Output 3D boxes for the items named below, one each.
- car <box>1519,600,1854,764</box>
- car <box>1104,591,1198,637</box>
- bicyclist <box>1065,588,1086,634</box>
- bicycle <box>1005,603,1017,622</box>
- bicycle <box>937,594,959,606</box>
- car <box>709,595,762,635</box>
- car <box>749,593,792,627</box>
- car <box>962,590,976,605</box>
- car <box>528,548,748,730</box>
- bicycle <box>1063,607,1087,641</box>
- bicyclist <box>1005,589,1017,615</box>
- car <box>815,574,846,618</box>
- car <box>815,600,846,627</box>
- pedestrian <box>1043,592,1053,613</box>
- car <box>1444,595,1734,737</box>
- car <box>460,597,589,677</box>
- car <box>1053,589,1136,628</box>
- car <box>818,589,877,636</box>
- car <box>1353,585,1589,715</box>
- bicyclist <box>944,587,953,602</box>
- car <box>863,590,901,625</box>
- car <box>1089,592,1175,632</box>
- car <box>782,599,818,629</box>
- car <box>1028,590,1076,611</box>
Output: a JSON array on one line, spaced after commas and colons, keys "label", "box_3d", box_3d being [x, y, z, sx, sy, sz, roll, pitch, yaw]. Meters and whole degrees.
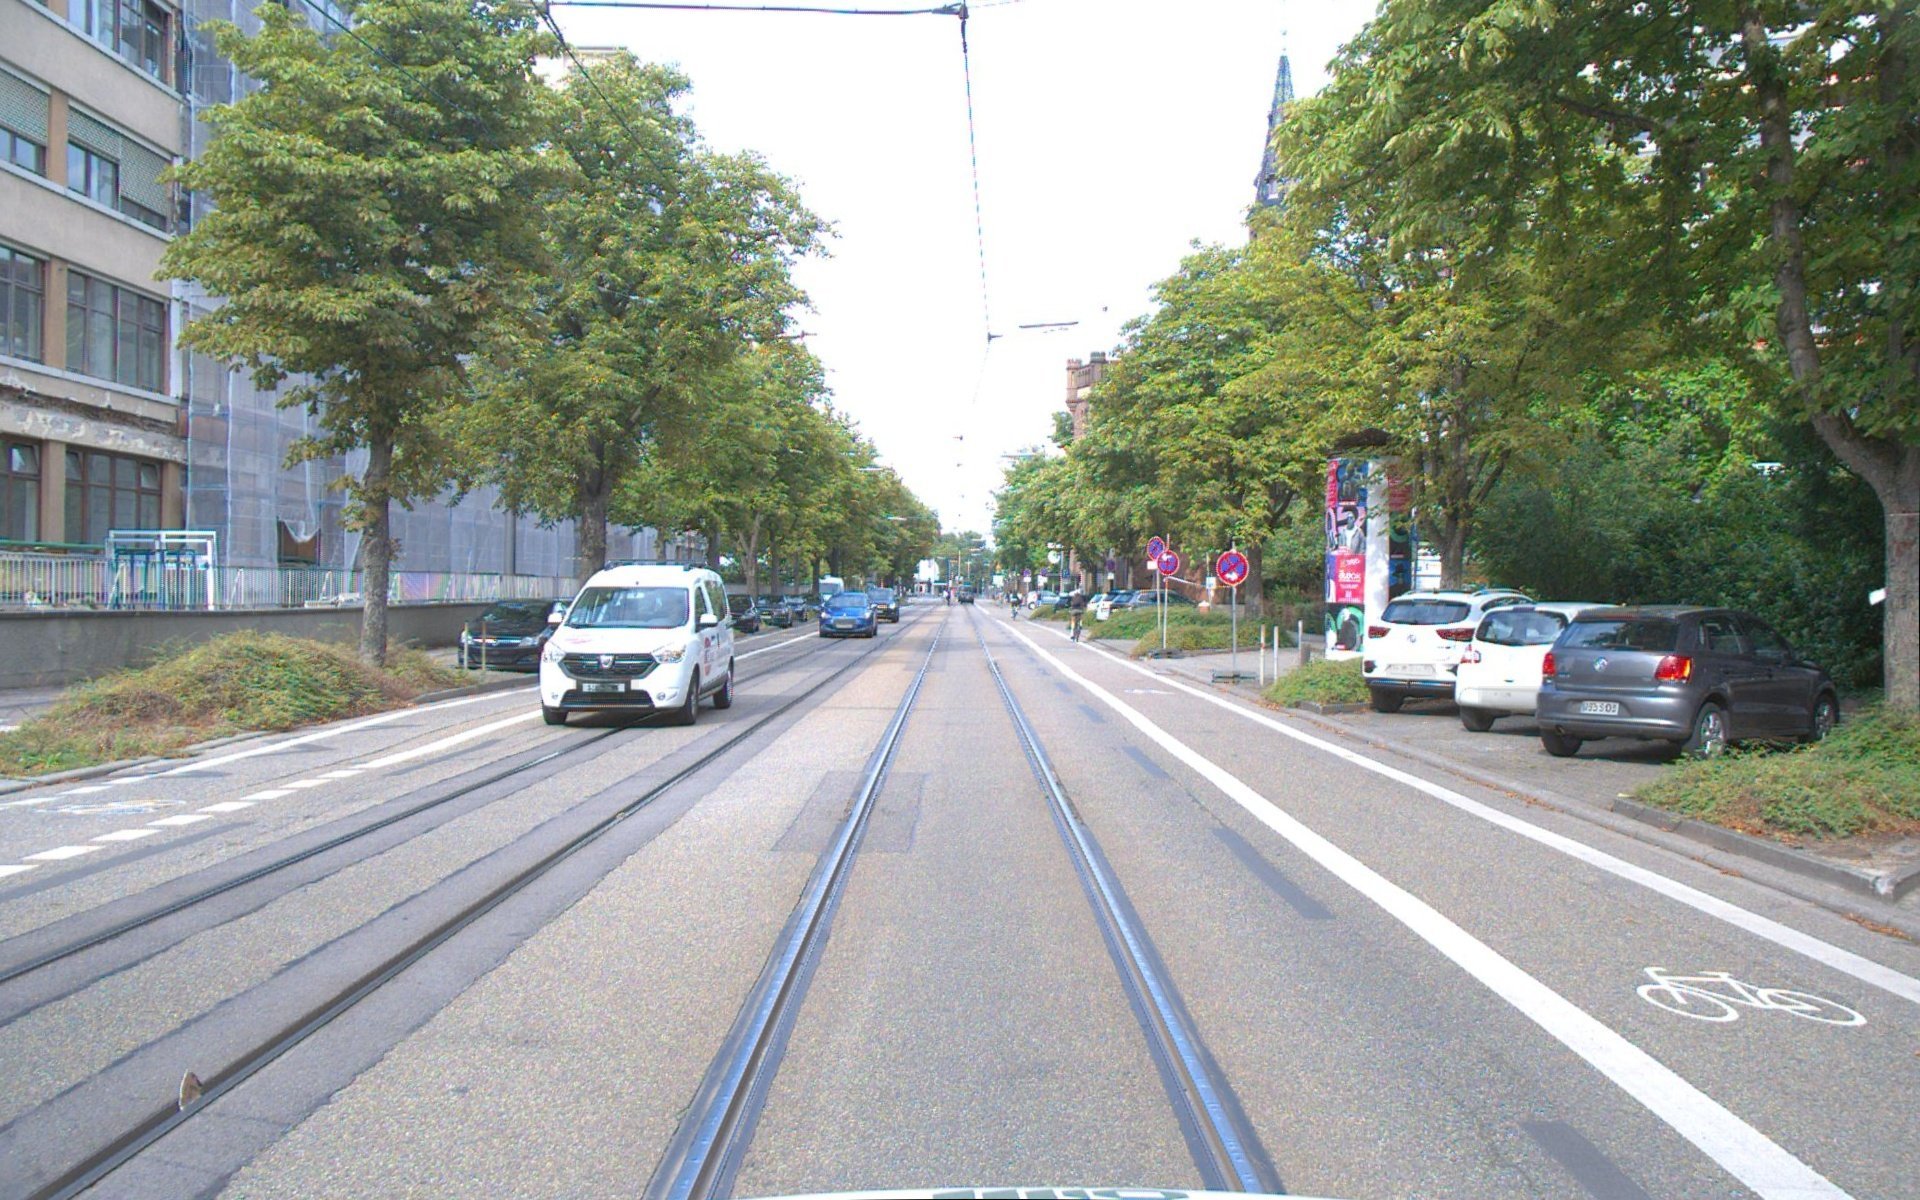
[{"label": "car", "box_3d": [7.308, 0.747, 16.510, 3.612, 1.444, 1.658, 1, 0, -40]}, {"label": "car", "box_3d": [7.149, 0.526, 61.695, 1.654, 1.630, 3.621, 0, 0, 44]}, {"label": "bicyclist", "box_3d": [3.748, 0.356, 53.882, 0.581, 1.485, 0.875, 1, 0, -2]}, {"label": "bicycle", "box_3d": [3.003, 0.750, 97.637, 0.650, 1.062, 1.841, 1, 0, 0]}, {"label": "bicycle", "box_3d": [-1.215, -0.008, 168.603, 2.226, 1.210, 0.769, 1, 0, 7]}, {"label": "car", "box_3d": [-8.412, 0.538, 62.291, 1.558, 1.427, 3.961, 1, 0, -2]}, {"label": "car", "box_3d": [-8.295, 0.431, 72.591, 1.558, 1.427, 3.961, 1, 0, -2]}, {"label": "car", "box_3d": [1.145, -0.277, 210.459, 1.758, 1.855, 4.677, 1, 0, -1]}, {"label": "car", "box_3d": [-3.722, 0.406, 19.876, 1.696, 1.917, 4.379, 1, 0, 1]}, {"label": "bicycle", "box_3d": [3.739, 0.760, 53.881, 0.581, 1.062, 1.977, 1, 0, -2]}, {"label": "bicyclist", "box_3d": [3.017, 0.112, 97.640, 0.645, 1.522, 0.929, 1, 0, 0]}, {"label": "car", "box_3d": [-8.308, -0.254, 106.361, 1.686, 2.751, 5.468, 1, 0, -2]}, {"label": "car", "box_3d": [-7.285, 0.730, 93.018, 1.558, 1.427, 3.961, 1, 0, -2]}, {"label": "pedestrian", "box_3d": [7.661, 0.234, 144.672, 0.732, 1.821, 0.731, 1, -1, 15]}, {"label": "car", "box_3d": [7.438, 0.722, 19.440, 3.612, 1.500, 1.658, 1, 0, -40]}, {"label": "car", "box_3d": [-8.379, 0.678, 32.119, 1.558, 1.427, 3.961, 1, 0, -2]}, {"label": "car", "box_3d": [5.760, 0.369, 70.620, 1.654, 1.630, 3.621, 0, 0, 44]}, {"label": "car", "box_3d": [-3.724, 0.387, 55.537, 1.697, 1.522, 4.378, 0, 1, 0]}, {"label": "car", "box_3d": [7.050, 0.638, 22.650, 1.654, 1.630, 3.621, 0, 0, 44]}, {"label": "bicyclist", "box_3d": [-1.185, -0.594, 168.608, 0.828, 1.531, 0.769, 1, 0, 7]}, {"label": "car", "box_3d": [-3.777, 0.329, 80.609, 1.697, 1.657, 4.377, -1, 0, -1]}, {"label": "car", "box_3d": [7.147, 0.501, 68.493, 1.654, 1.630, 3.621, 0, 0, 44]}, {"label": "car", "box_3d": [-7.990, 0.674, 82.814, 1.558, 1.427, 3.961, 1, 0, -2]}, {"label": "car", "box_3d": [8.068, 0.027, 144.874, 3.910, 1.722, 1.998, 1, 0, -6]}]
